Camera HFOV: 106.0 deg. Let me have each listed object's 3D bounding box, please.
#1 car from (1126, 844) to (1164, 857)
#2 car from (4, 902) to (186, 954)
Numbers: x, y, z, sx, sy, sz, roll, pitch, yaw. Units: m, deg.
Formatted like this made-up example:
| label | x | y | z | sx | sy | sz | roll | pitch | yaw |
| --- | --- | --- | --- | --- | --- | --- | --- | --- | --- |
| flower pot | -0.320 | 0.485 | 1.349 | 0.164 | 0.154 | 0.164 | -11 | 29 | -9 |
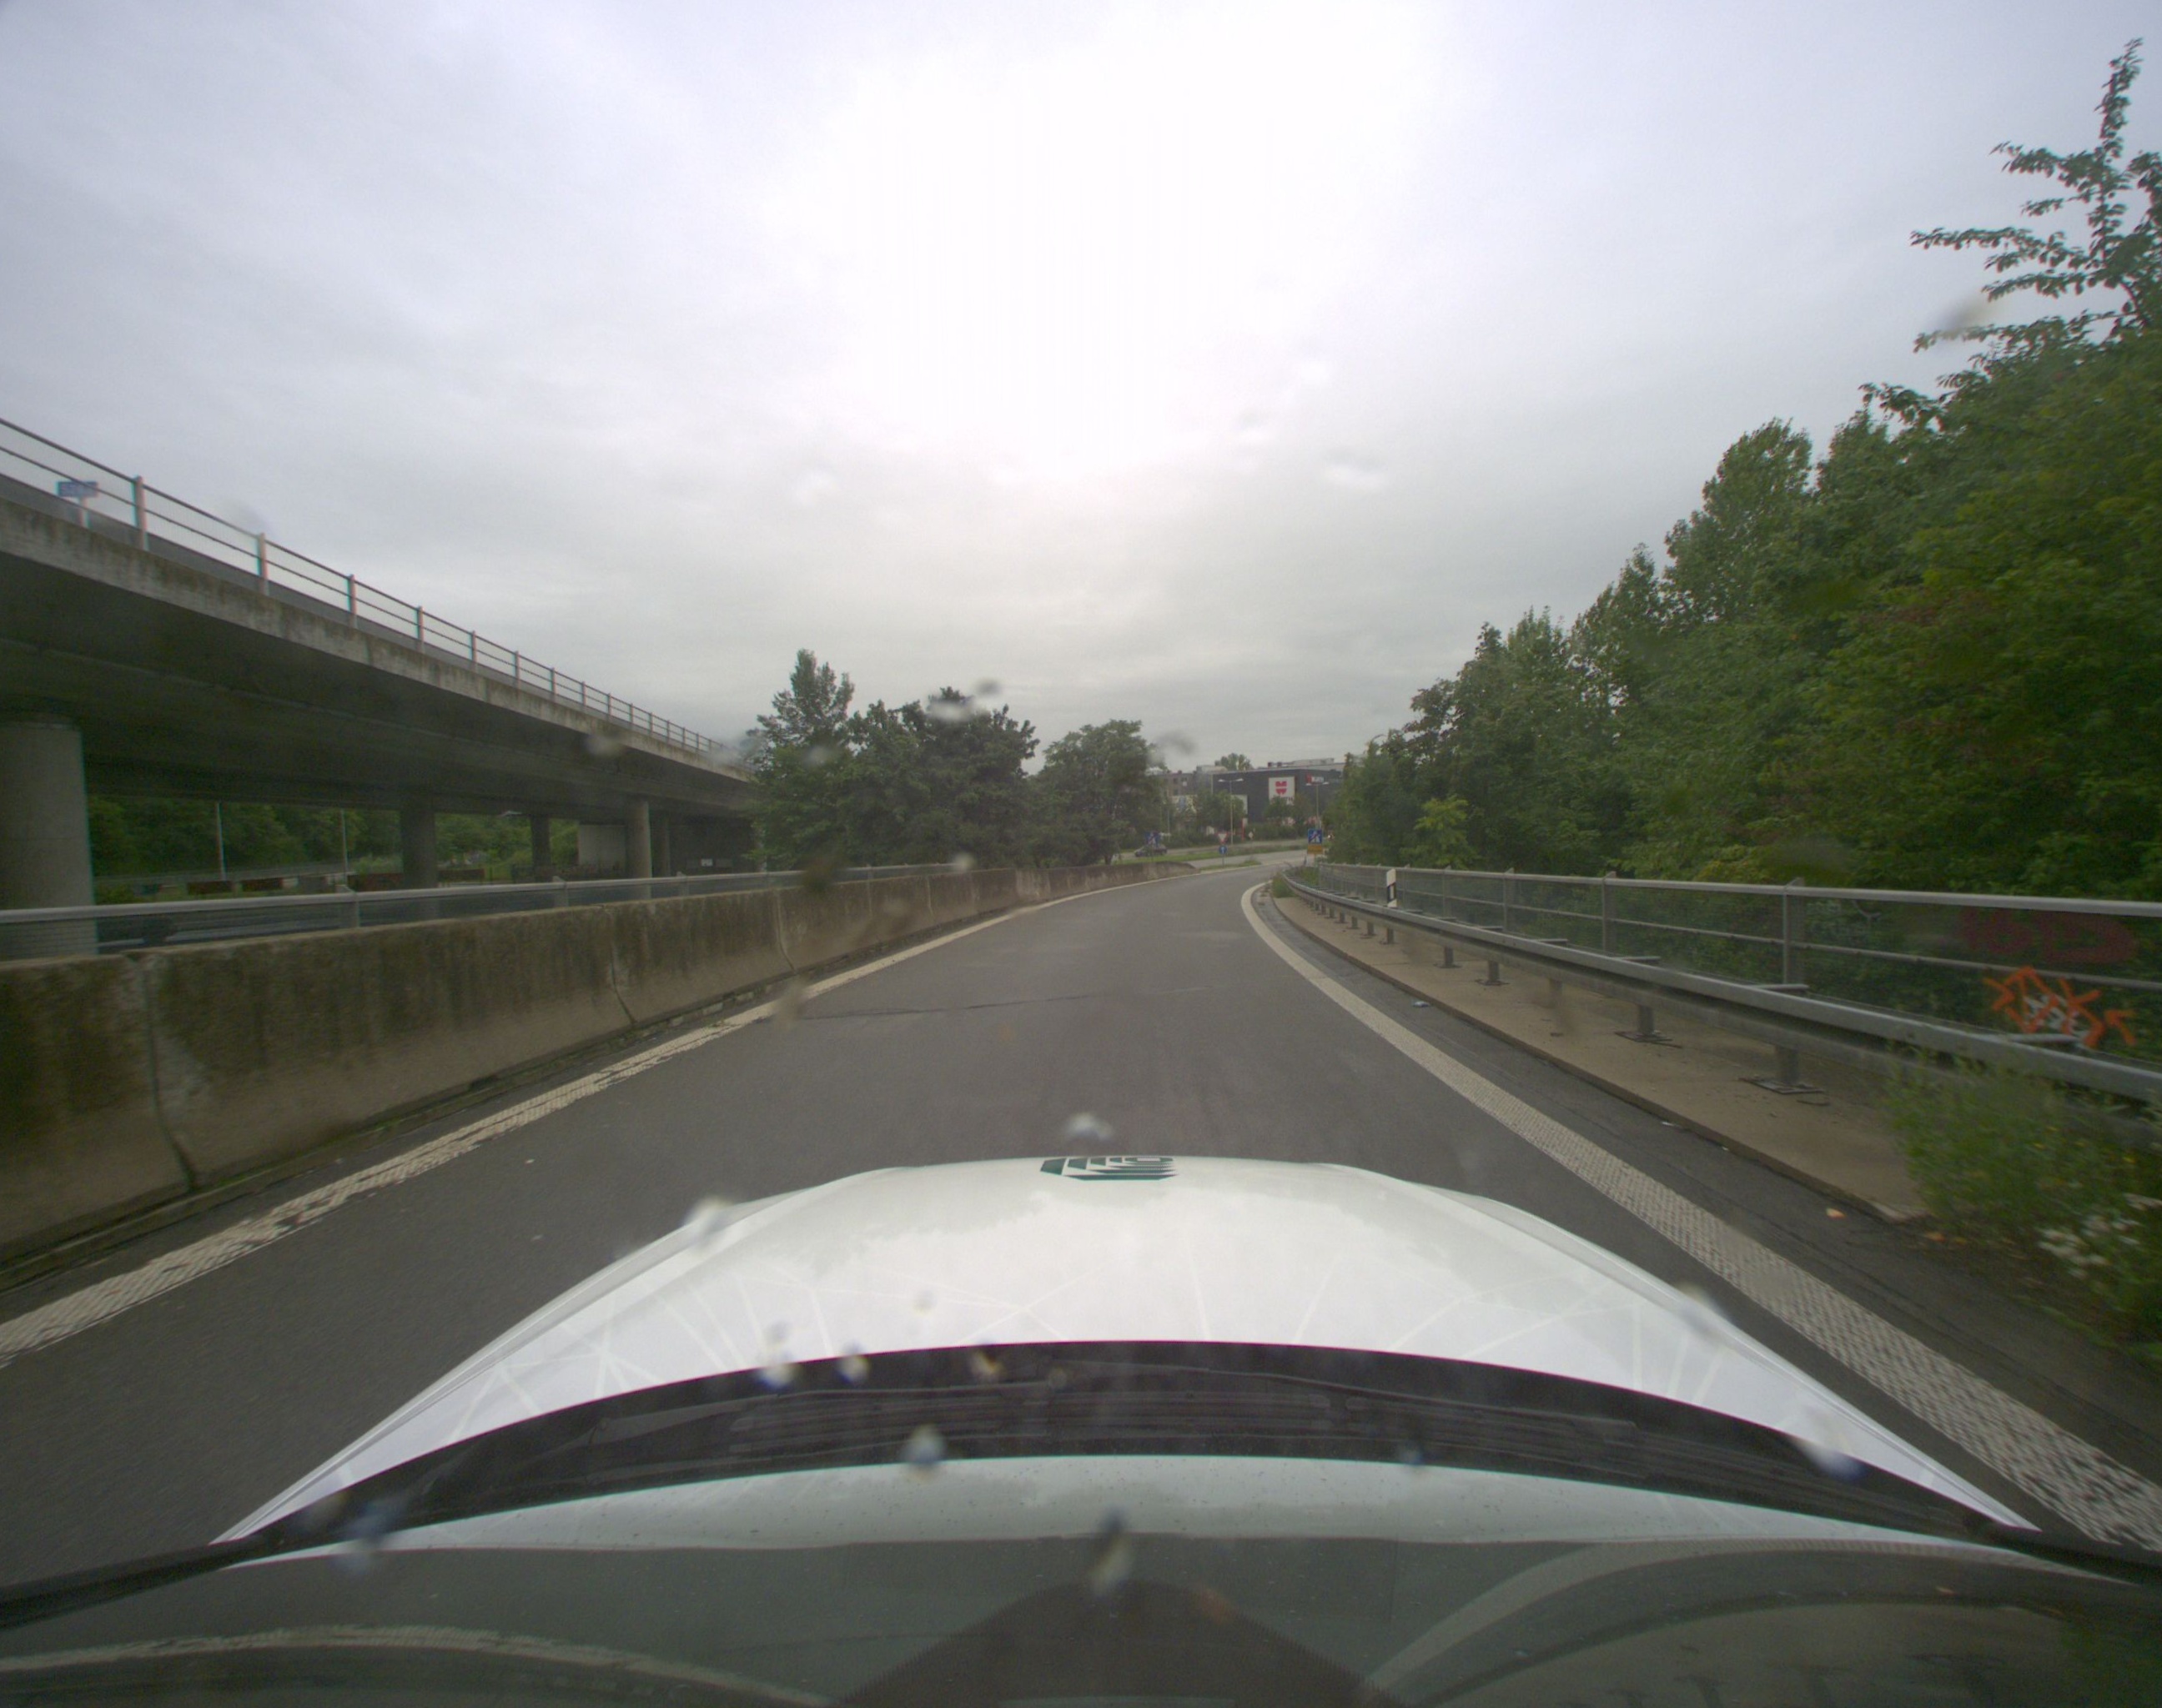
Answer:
| label | x | y | z | sx | sy | sz | roll | pitch | yaw |
| --- | --- | --- | --- | --- | --- | --- | --- | --- | --- |
| car | 7.604 | -0.383 | 96.745 | 1.950 | 1.396 | 4.847 | -1 | 1 | 41 |
| car | -40.348 | 2.969 | 33.467 | 1.950 | 1.583 | 4.621 | -3 | 0 | 38 |
